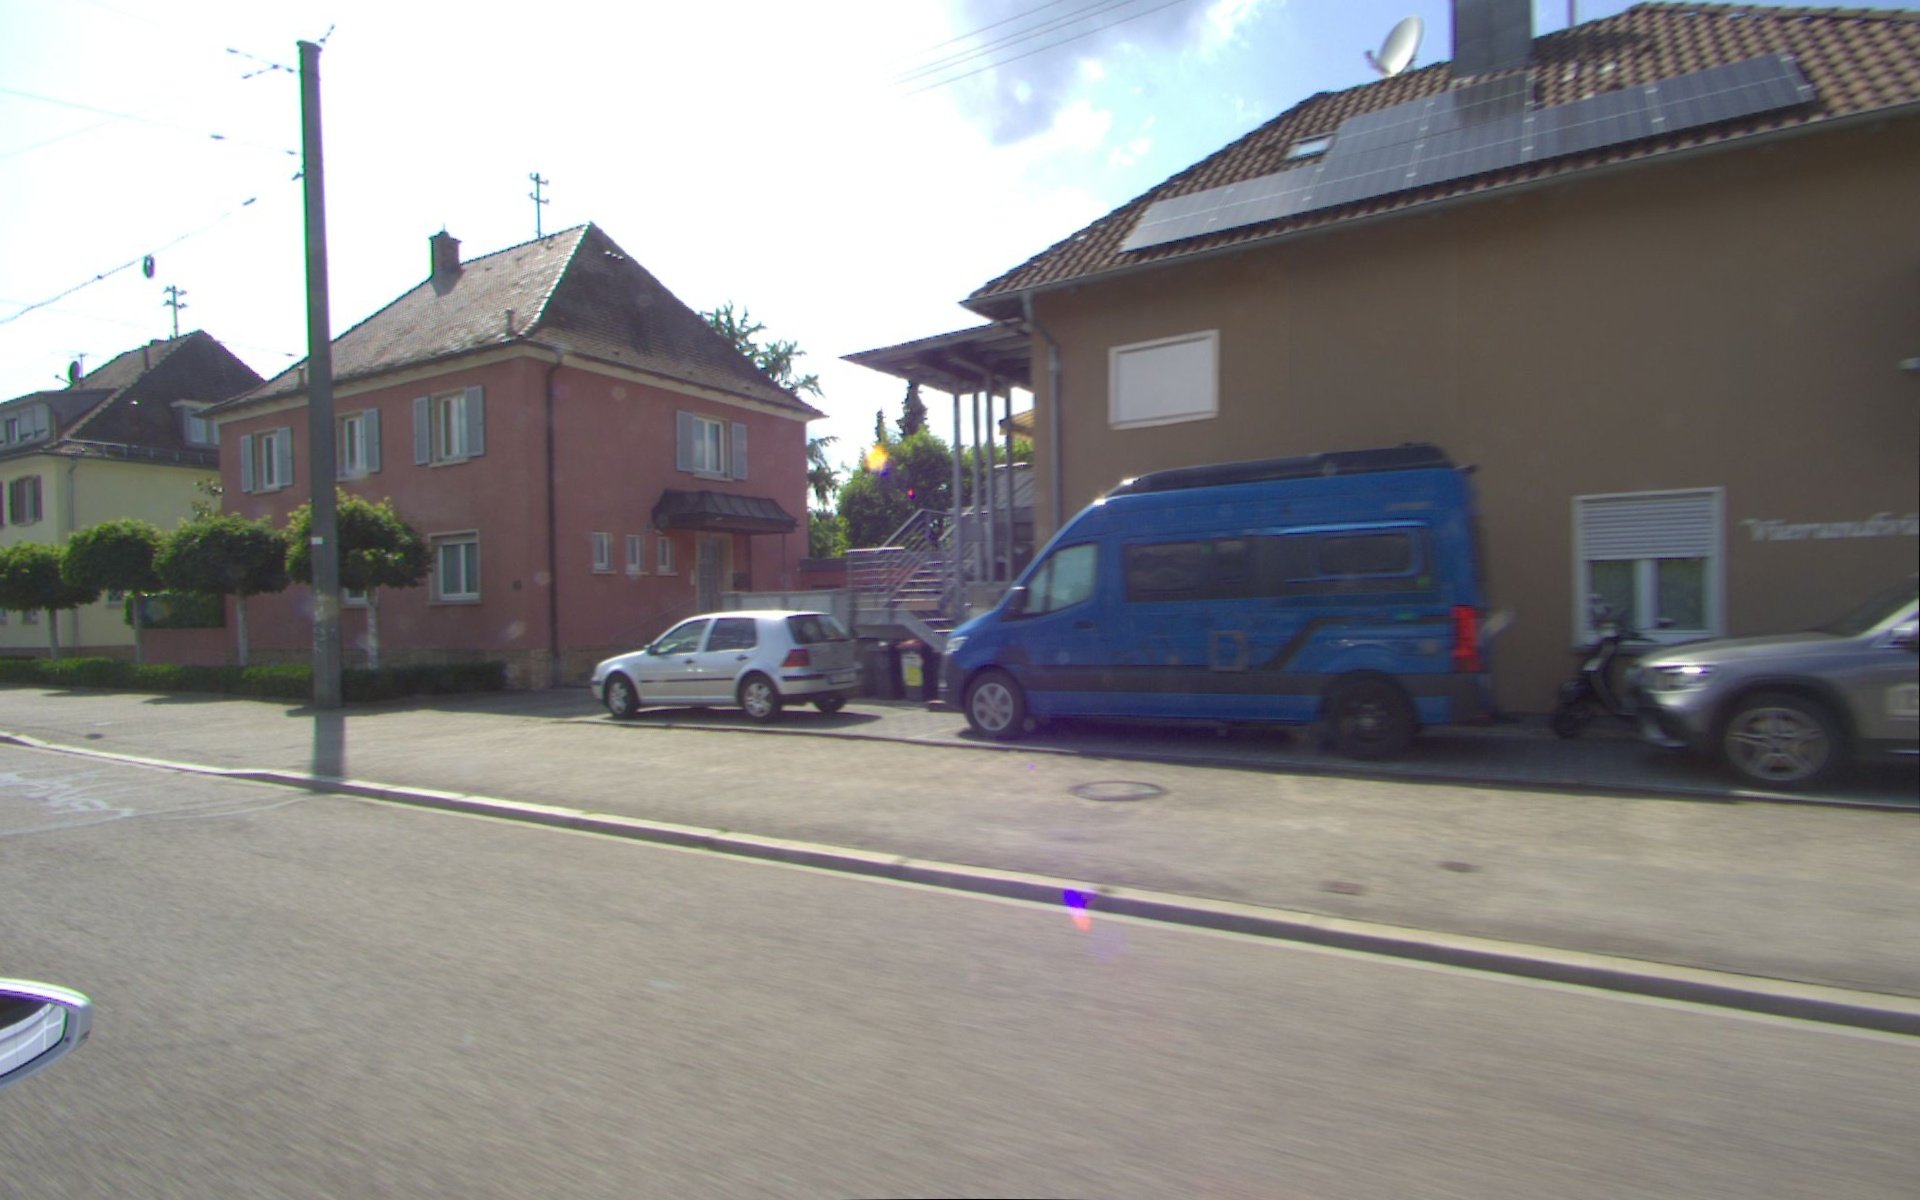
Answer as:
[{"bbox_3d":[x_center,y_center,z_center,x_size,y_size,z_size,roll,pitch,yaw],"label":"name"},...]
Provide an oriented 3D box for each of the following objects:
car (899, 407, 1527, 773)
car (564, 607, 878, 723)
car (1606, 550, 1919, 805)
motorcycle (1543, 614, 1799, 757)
[{"bbox_3d":[2.460,0.026,10.708,6.157,2.967,2.148,-2,-2,33],"label":"car"},{"bbox_3d":[-3.415,0.863,14.124,4.283,1.428,1.647,-1,0,28],"label":"car"},{"bbox_3d":[7.550,0.502,7.223,4.793,1.734,1.832,-1,1,32],"label":"car"},{"bbox_3d":[6.736,0.766,9.619,1.940,1.249,0.690,-1,1,32],"label":"motorcycle"}]
